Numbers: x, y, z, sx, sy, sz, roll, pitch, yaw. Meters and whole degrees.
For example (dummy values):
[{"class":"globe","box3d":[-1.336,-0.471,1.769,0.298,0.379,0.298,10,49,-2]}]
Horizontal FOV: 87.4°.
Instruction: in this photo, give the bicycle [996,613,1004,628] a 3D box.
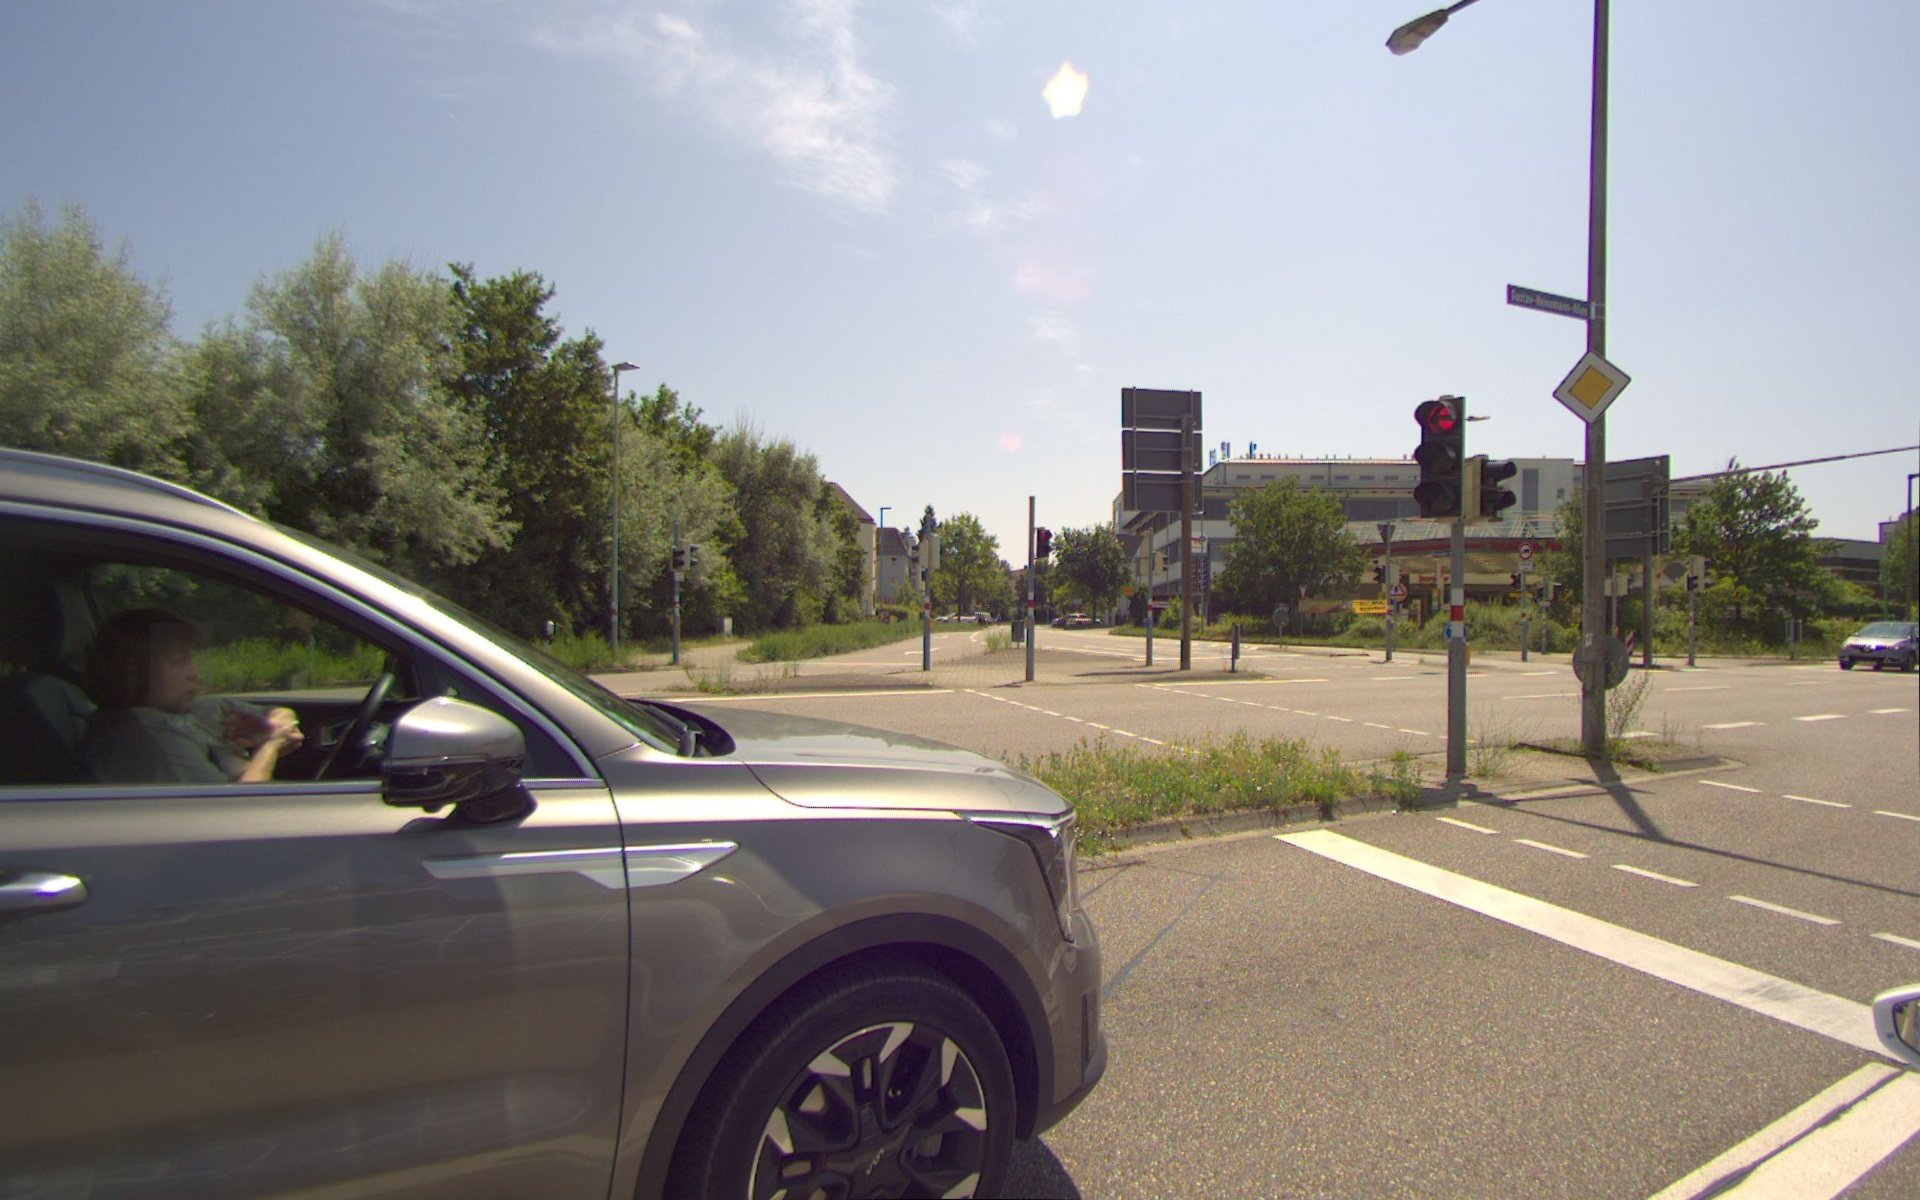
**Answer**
[{"class":"bicycle","box3d":[5.333,2.734,134.366,0.876,2.040,3.196,0,-1,6]}]

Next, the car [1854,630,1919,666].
[{"class":"car","box3d":[41.318,2.101,43.911,3.770,1.469,1.820,2,-1,-21]}]

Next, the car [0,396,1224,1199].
[{"class":"car","box3d":[-1.715,0.587,2.052,4.480,1.690,1.771,1,-1,-31]}]

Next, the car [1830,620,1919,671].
[{"class":"car","box3d":[30.139,1.450,32.674,3.954,1.560,1.650,1,-1,-31]}]
